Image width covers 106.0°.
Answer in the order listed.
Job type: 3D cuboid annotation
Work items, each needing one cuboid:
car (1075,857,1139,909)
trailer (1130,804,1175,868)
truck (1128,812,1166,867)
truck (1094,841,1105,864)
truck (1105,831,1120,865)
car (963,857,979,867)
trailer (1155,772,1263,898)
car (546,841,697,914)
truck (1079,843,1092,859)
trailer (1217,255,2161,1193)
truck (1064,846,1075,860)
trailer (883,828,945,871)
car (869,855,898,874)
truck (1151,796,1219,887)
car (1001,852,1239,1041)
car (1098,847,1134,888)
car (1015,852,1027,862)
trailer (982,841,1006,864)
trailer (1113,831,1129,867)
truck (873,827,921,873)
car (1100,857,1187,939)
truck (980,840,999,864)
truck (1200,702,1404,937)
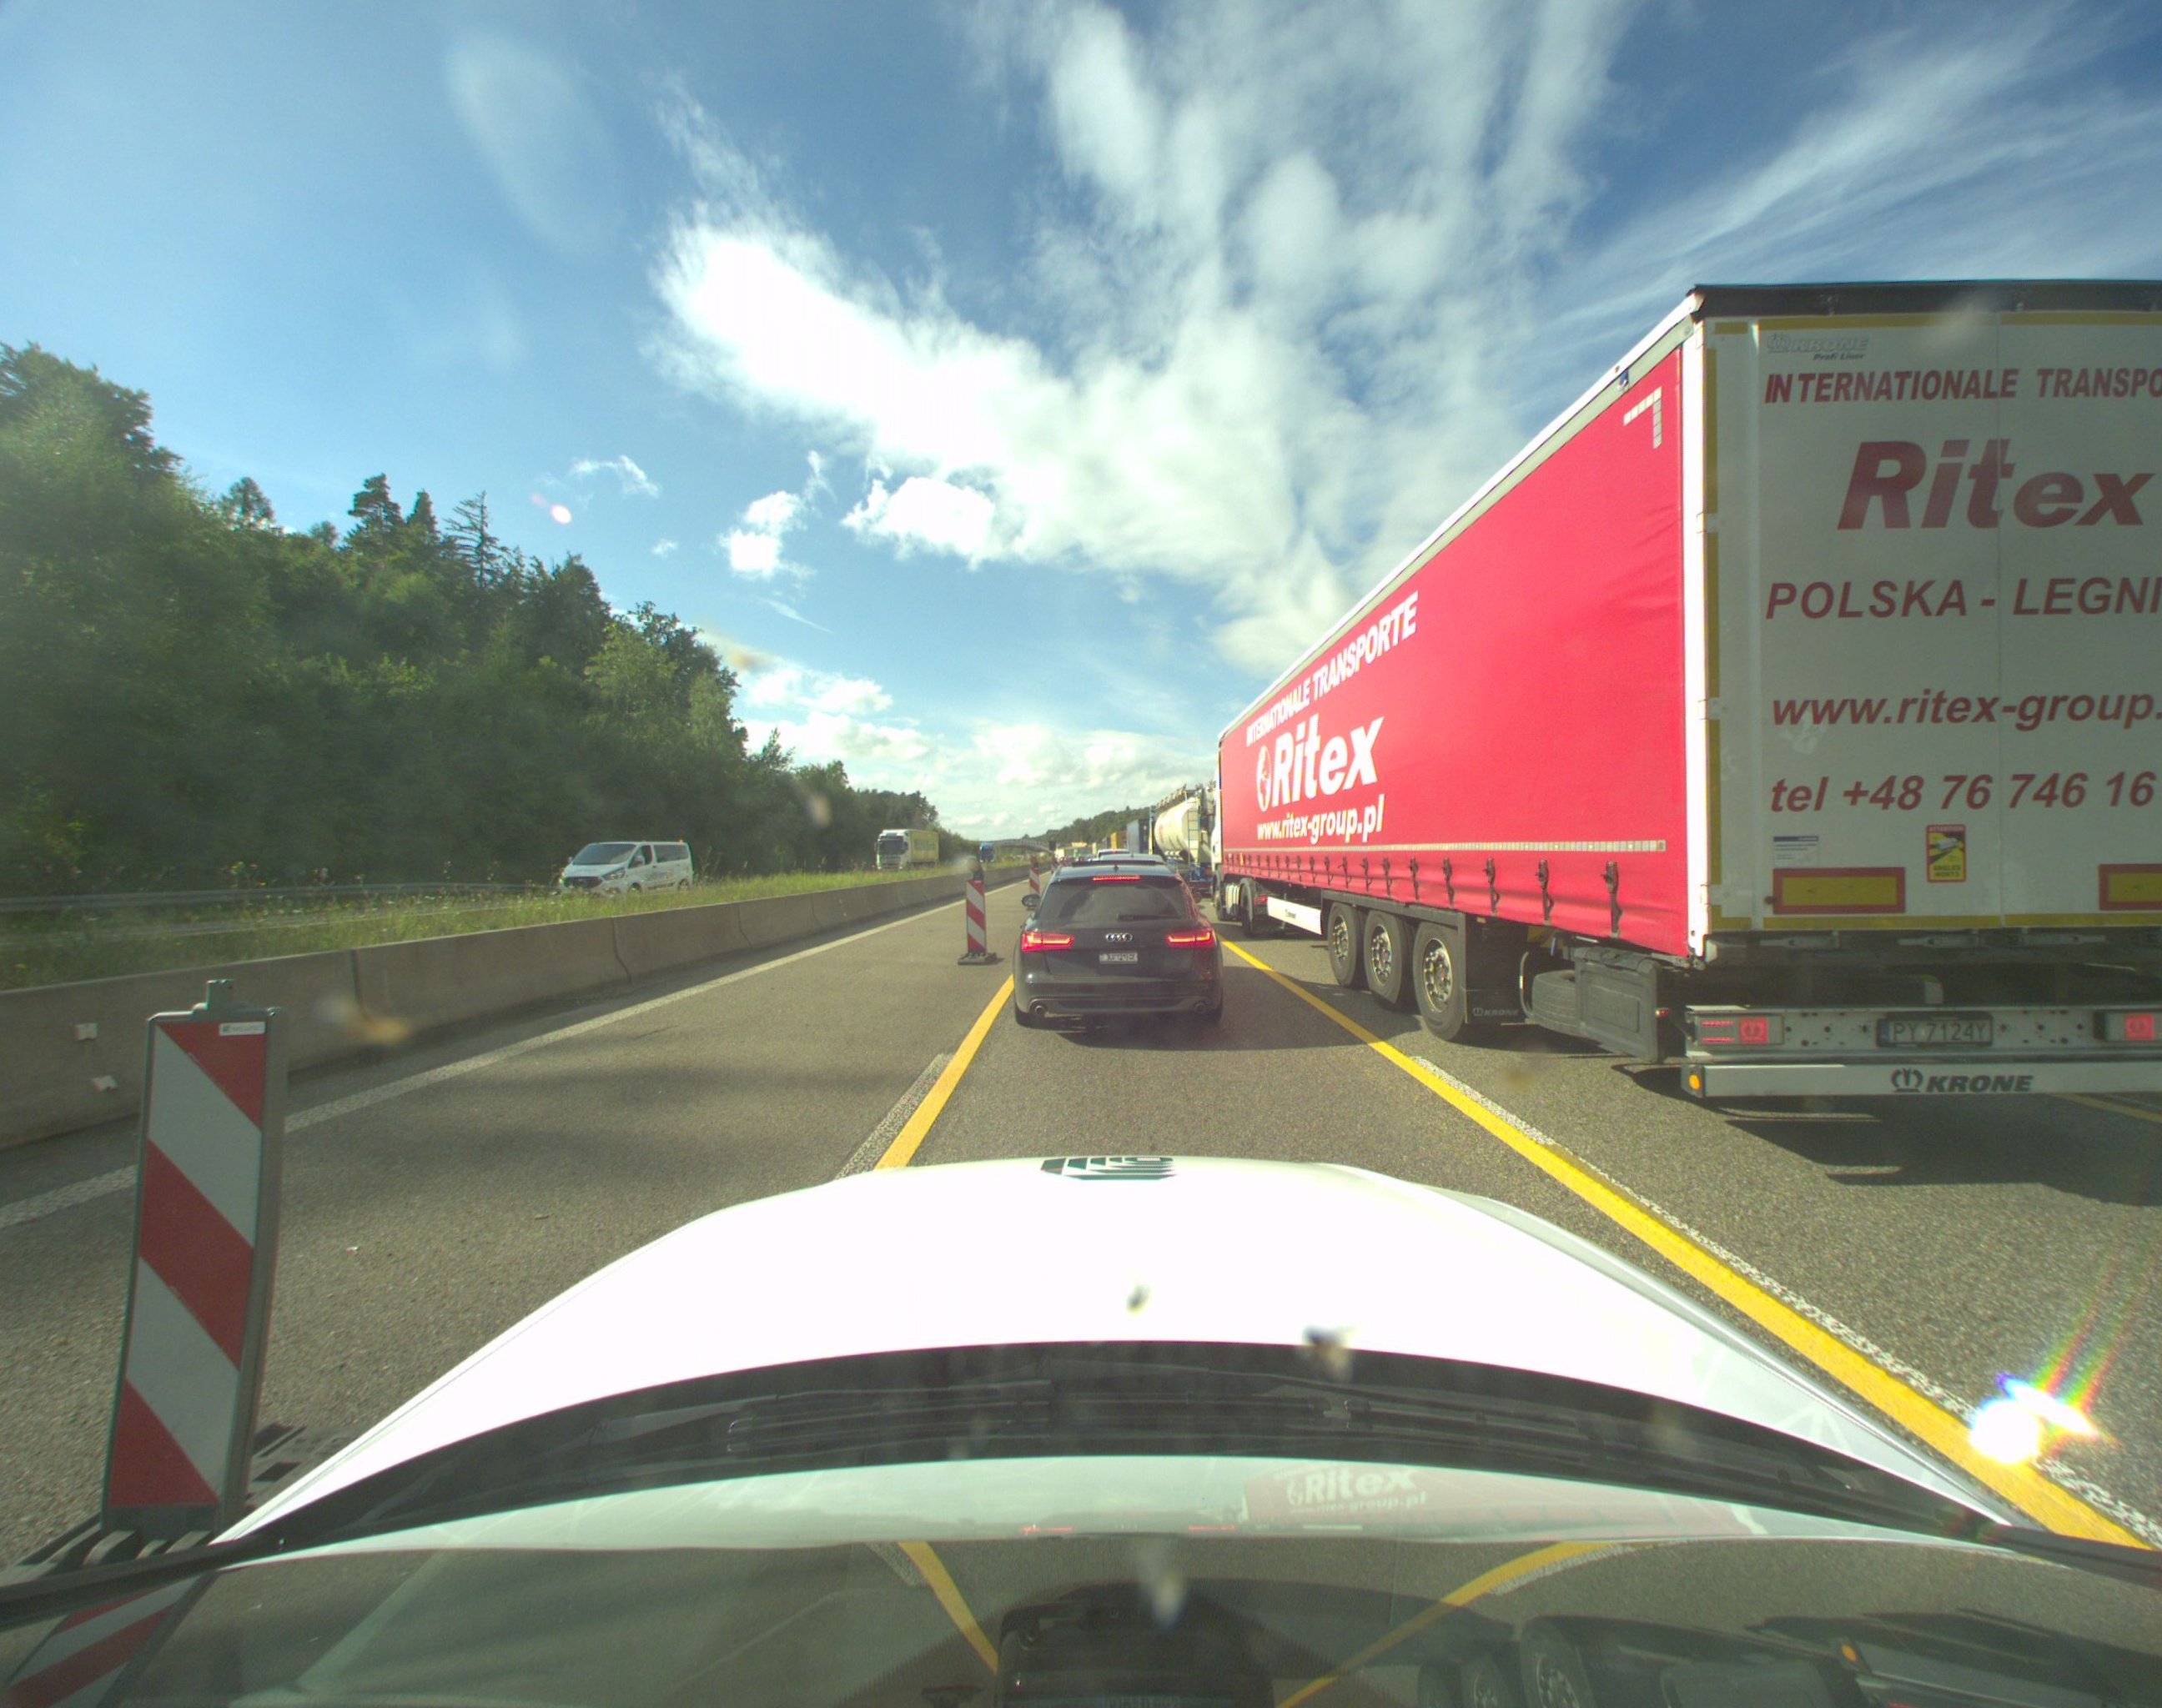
[{"bbox_3d":[0.783,0.813,24.093,1.745,1.397,3.609,0,-1,2],"label":"car"},{"bbox_3d":[5.330,-1.215,62.397,2.795,4.413,10.436,0,-1,2],"label":"trailer"},{"bbox_3d":[5.518,-1.139,69.480,2.795,4.370,7.794,0,-1,2],"label":"truck"},{"bbox_3d":[3.591,-0.244,156.540,2.130,4.257,7.073,0,-1,1],"label":"truck"},{"bbox_3d":[4.720,-0.896,123.499,1.987,4.914,9.562,-1,0,0],"label":"truck"},{"bbox_3d":[-16.588,1.235,122.828,1.780,1.560,4.001,0,-1,2],"label":"car"},{"bbox_3d":[4.600,-0.570,31.952,2.634,3.943,12.602,0,0,2],"label":"trailer"},{"bbox_3d":[-13.923,0.685,25.097,1.988,2.014,4.828,0,-1,-1],"label":"car"},{"bbox_3d":[1.182,-0.816,219.338,3.293,4.175,9.700,-1,0,0],"label":"truck"},{"bbox_3d":[4.062,-0.576,10.188,2.690,3.968,13.420,-1,0,1],"label":"trailer"},{"bbox_3d":[-3.734,-0.401,251.804,3.295,4.175,9.696,-1,0,-1],"label":"truck"},{"bbox_3d":[-16.245,-0.352,80.455,2.817,3.922,13.945,0,-1,2],"label":"trailer"},{"bbox_3d":[-21.357,1.157,88.273,1.986,2.014,4.001,0,-1,2],"label":"car"},{"bbox_3d":[4.804,-0.535,38.615,2.649,3.972,5.780,0,-1,2],"label":"truck"},{"bbox_3d":[0.371,0.745,8.395,1.842,1.463,4.001,-1,-1,2],"label":"car"},{"bbox_3d":[1.603,0.613,37.517,1.575,1.837,3.113,0,-1,2],"label":"car"},{"bbox_3d":[-11.591,0.665,158.417,1.987,1.948,4.000,0,-1,0],"label":"car"},{"bbox_3d":[-16.472,-0.318,155.408,2.610,4.141,13.377,-1,0,2],"label":"trailer"},{"bbox_3d":[4.388,-0.506,90.288,1.611,3.918,6.490,0,-1,1],"label":"trailer"},{"bbox_3d":[-16.482,-0.334,73.284,2.816,3.909,5.951,0,-1,2],"label":"truck"},{"bbox_3d":[1.149,0.786,15.963,1.518,1.439,3.286,0,-1,2],"label":"car"},{"bbox_3d":[-16.704,-0.347,148.577,2.628,4.189,5.469,-1,0,2],"label":"truck"},{"bbox_3d":[4.202,-0.600,16.791,2.658,3.959,5.712,-1,0,1],"label":"truck"}]
